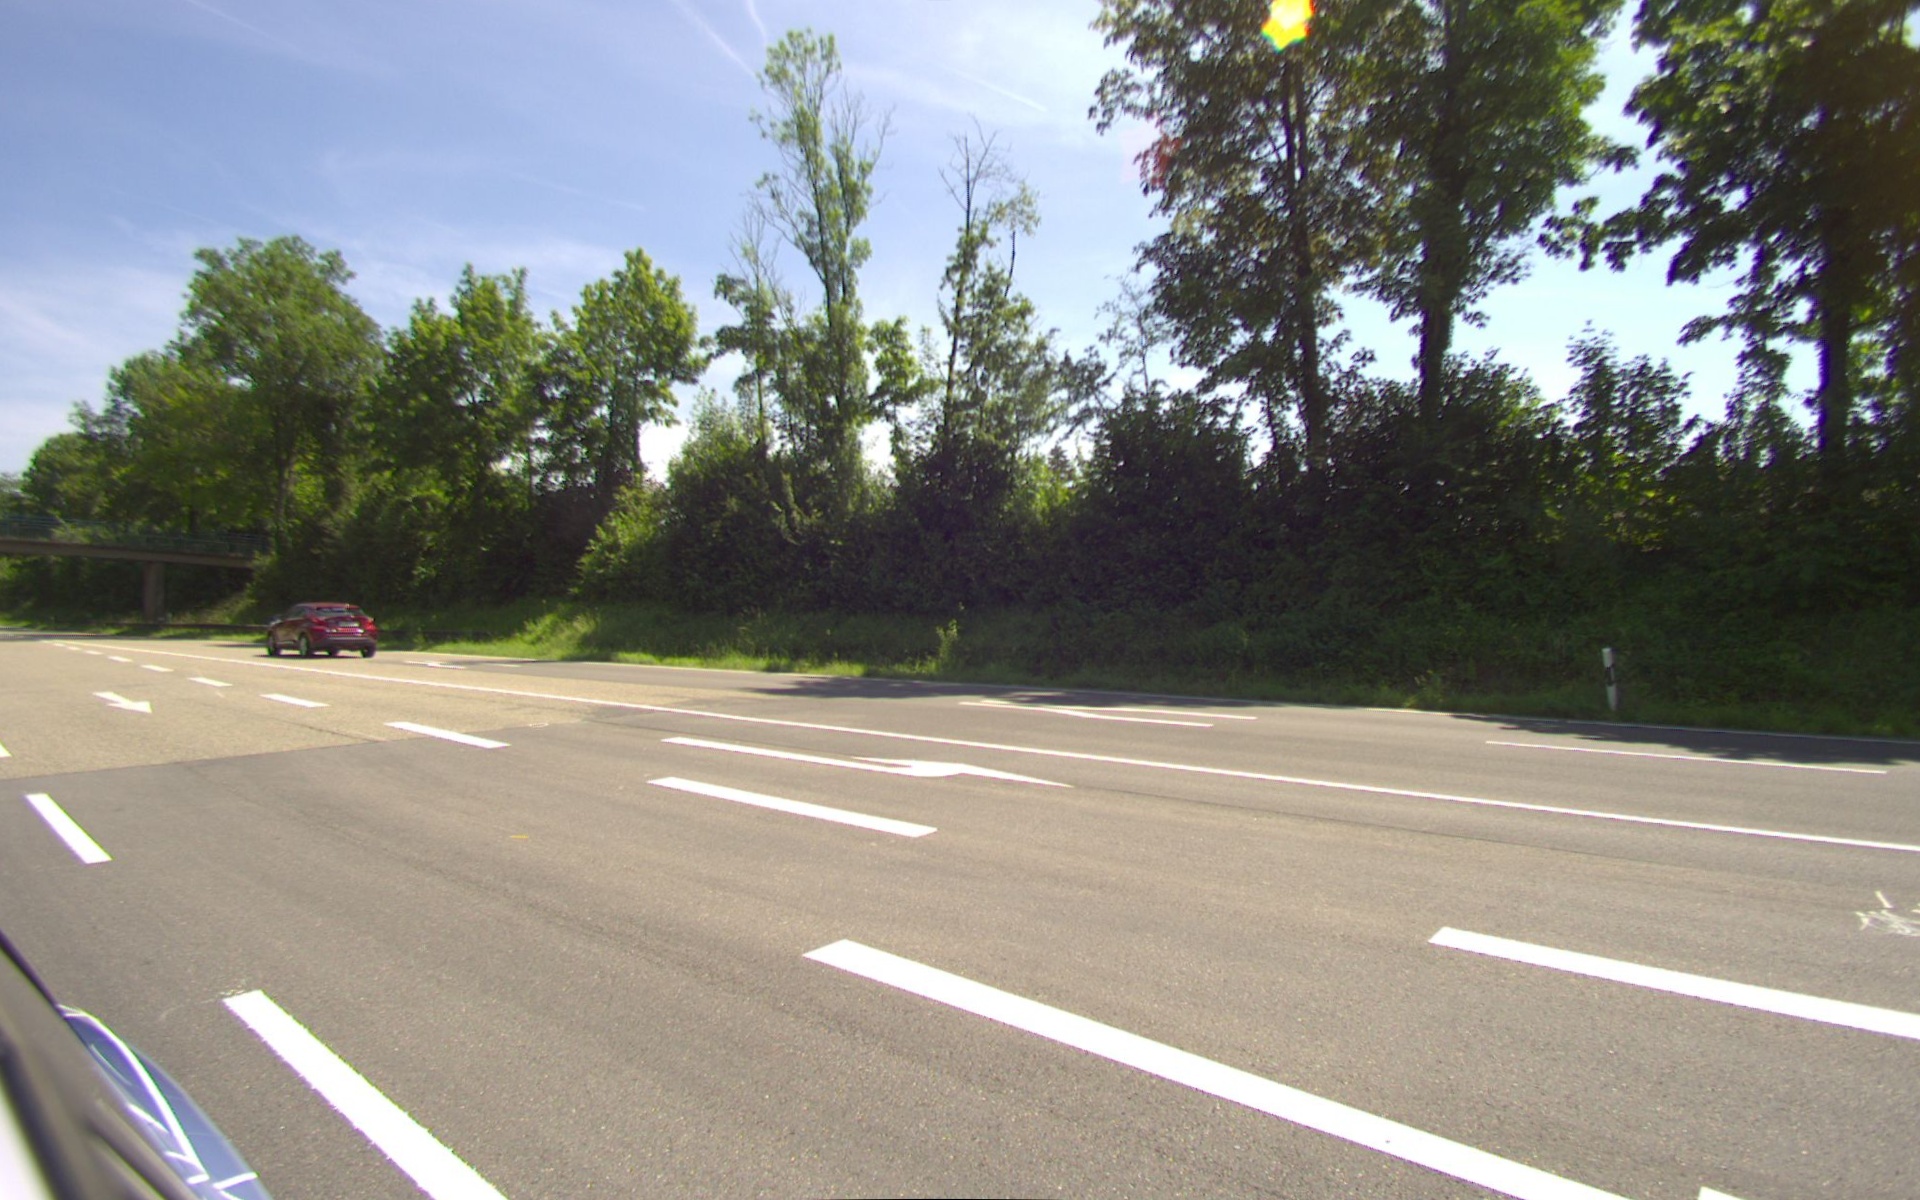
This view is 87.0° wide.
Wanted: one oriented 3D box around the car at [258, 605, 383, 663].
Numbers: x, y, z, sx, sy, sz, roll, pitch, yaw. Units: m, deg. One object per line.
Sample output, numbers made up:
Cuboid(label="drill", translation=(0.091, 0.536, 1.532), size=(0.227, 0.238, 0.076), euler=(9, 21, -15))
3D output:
Cuboid(label="car", translation=(-18.254, 0.910, 28.853), size=(3.759, 1.520, 1.885), euler=(0, 1, 38))
